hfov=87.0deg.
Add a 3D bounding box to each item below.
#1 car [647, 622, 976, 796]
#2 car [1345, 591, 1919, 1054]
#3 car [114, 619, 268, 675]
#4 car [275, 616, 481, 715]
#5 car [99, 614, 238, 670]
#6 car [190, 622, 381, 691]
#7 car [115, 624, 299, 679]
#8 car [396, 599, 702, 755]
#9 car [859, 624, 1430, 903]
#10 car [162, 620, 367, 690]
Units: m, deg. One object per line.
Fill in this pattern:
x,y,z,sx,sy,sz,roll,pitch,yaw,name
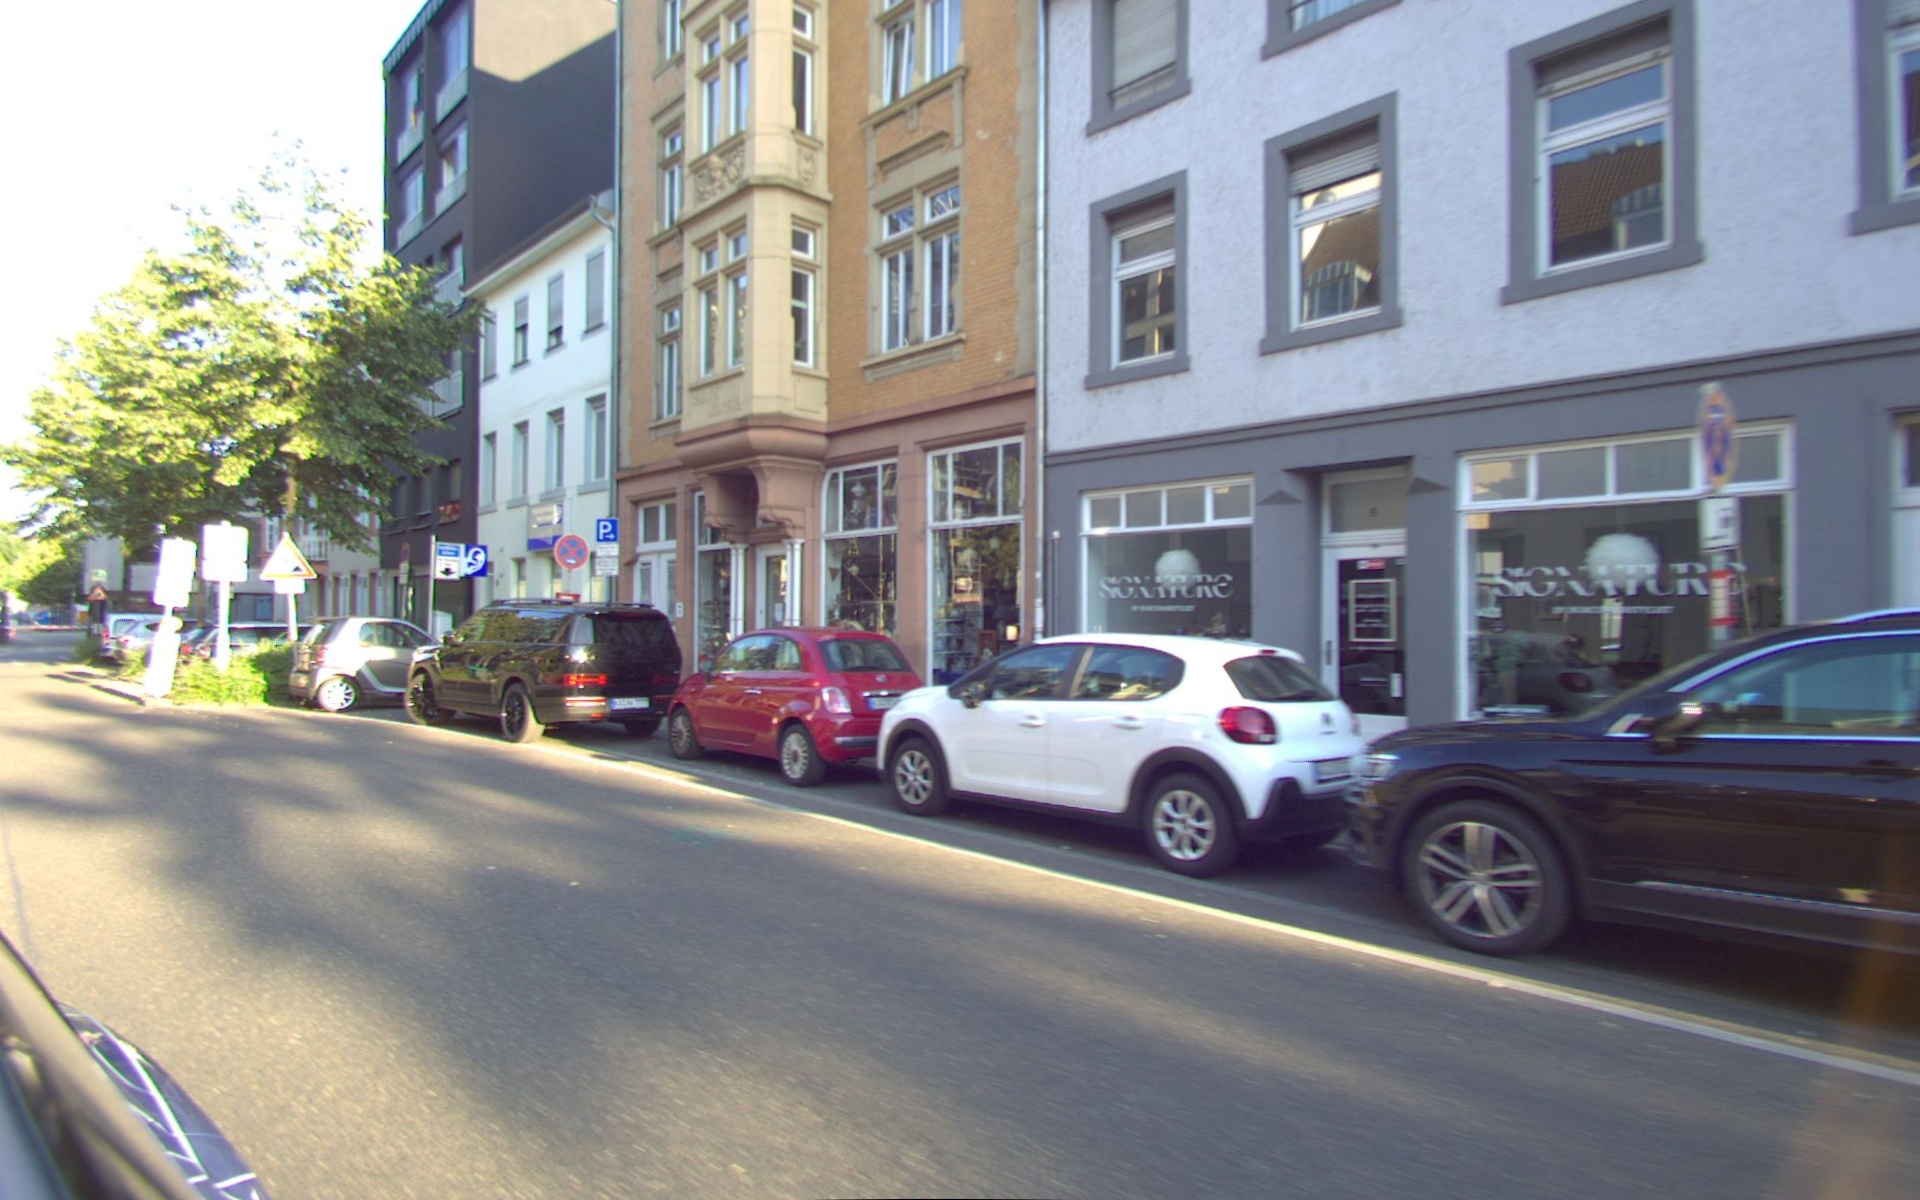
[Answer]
-1.678,1.025,10.755,1.753,1.526,3.487,4,-4,-43,car
4.055,0.833,4.243,1.753,1.645,4.241,4,-4,-43,car
-24.277,1.423,32.017,3.778,1.597,1.744,0,0,-41,car
-9.851,1.108,17.221,1.571,1.532,2.664,-3,-5,42,car
-27.855,1.445,35.675,3.763,1.863,1.703,1,-2,-41,car
-15.054,1.208,22.653,3.355,1.402,1.689,0,-1,-42,car
-22.530,1.482,30.394,1.762,1.528,4.162,-1,-2,42,car
-5.638,0.919,13.582,4.700,1.741,1.884,-1,-3,41,car
1.163,0.972,7.614,1.753,1.526,3.953,4,-4,-43,car
-16.757,1.266,24.481,3.847,1.529,1.858,0,-1,-44,car
